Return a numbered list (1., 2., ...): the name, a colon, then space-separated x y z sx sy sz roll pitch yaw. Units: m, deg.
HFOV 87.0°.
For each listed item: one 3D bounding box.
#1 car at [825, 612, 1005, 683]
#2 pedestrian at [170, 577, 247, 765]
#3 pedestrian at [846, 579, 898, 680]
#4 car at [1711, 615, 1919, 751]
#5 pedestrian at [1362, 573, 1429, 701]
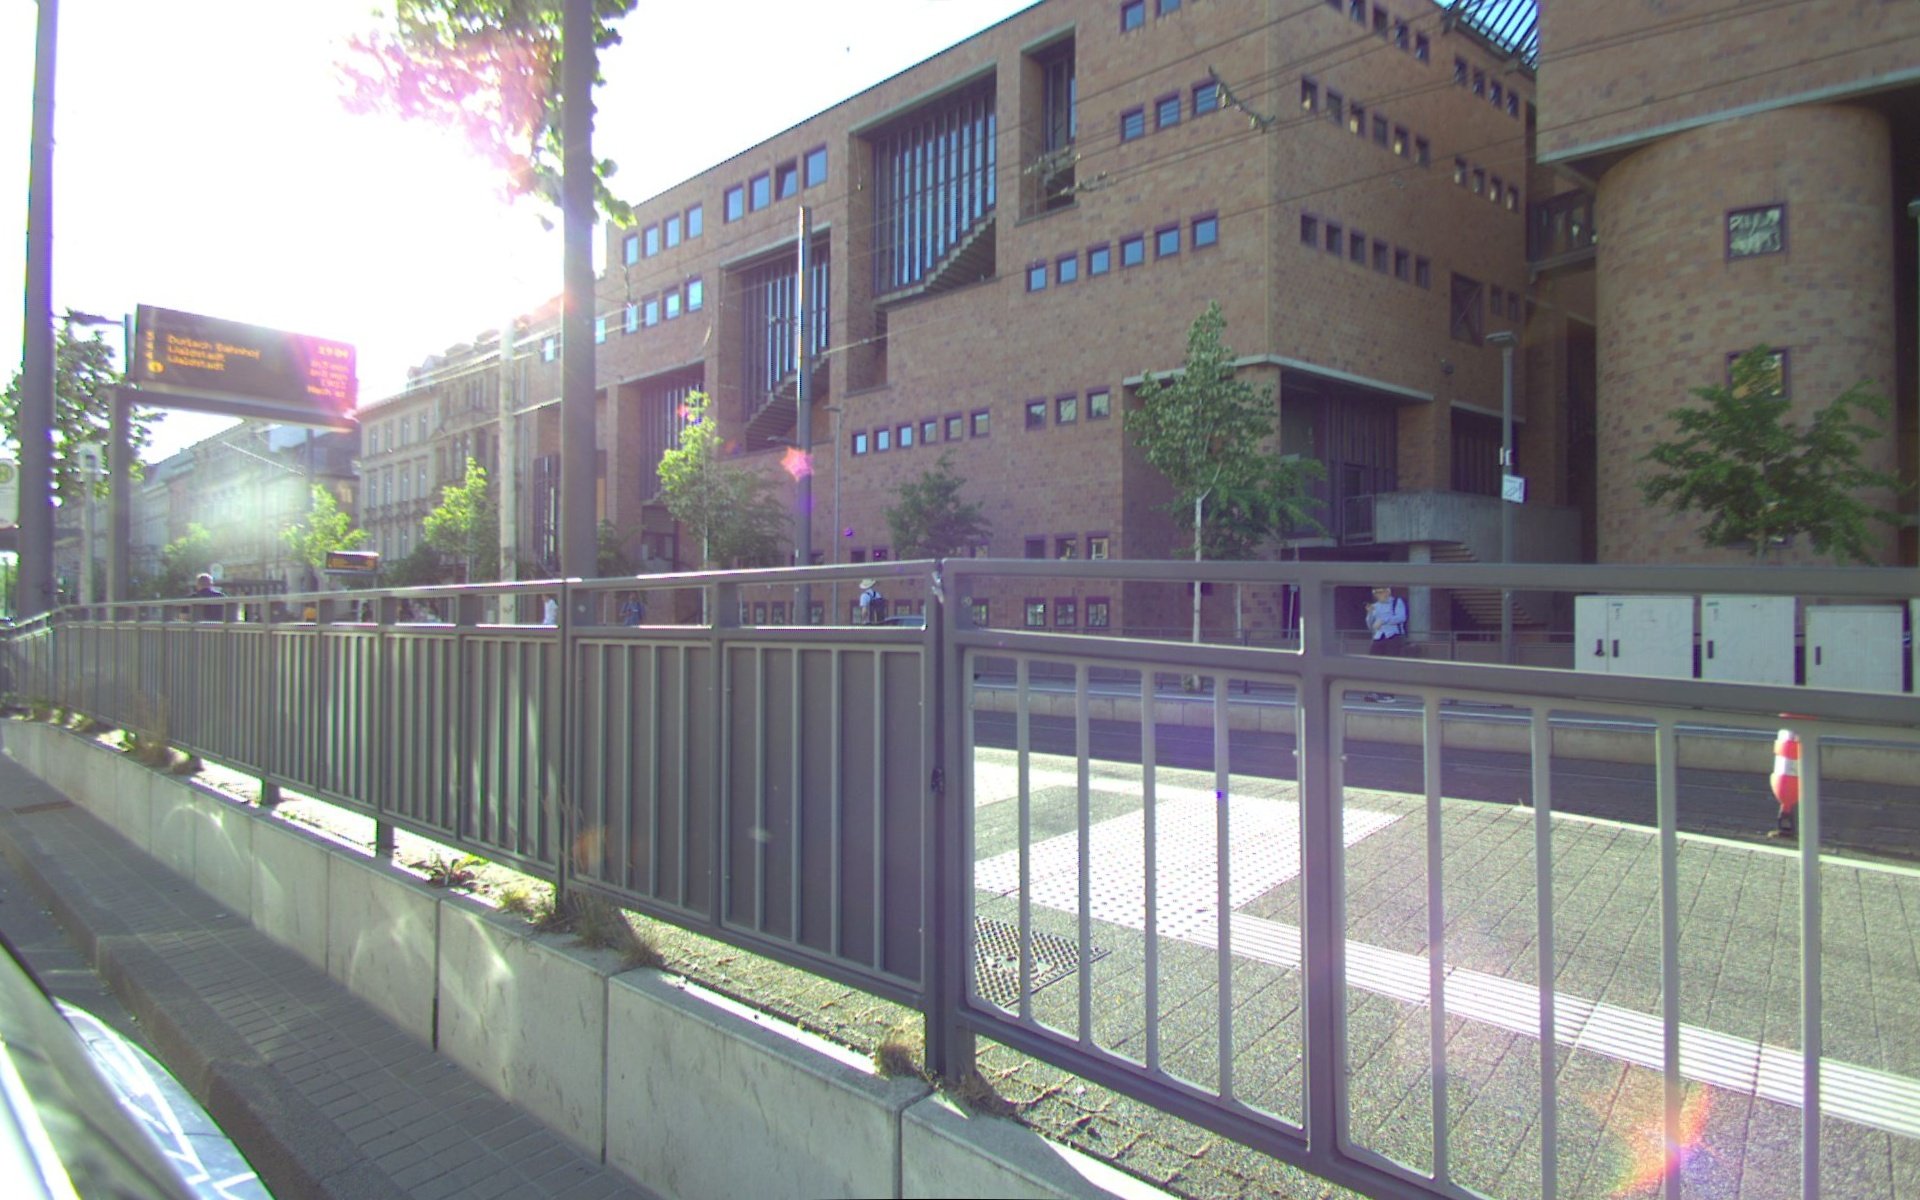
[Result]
1. car: -1.145 1.102 24.799 4.234 1.580 1.808 0 -2 37
2. pedestrian: -10.187 0.927 13.722 0.625 2.461 0.676 0 0 38
3. pedestrian: -1.632 0.536 18.724 0.668 1.821 0.677 0 0 40
4. car: 12.082 0.996 12.327 4.687 1.580 1.808 0 -2 38
5. pedestrian: 5.801 0.473 13.483 0.684 1.647 0.660 0 0 37
